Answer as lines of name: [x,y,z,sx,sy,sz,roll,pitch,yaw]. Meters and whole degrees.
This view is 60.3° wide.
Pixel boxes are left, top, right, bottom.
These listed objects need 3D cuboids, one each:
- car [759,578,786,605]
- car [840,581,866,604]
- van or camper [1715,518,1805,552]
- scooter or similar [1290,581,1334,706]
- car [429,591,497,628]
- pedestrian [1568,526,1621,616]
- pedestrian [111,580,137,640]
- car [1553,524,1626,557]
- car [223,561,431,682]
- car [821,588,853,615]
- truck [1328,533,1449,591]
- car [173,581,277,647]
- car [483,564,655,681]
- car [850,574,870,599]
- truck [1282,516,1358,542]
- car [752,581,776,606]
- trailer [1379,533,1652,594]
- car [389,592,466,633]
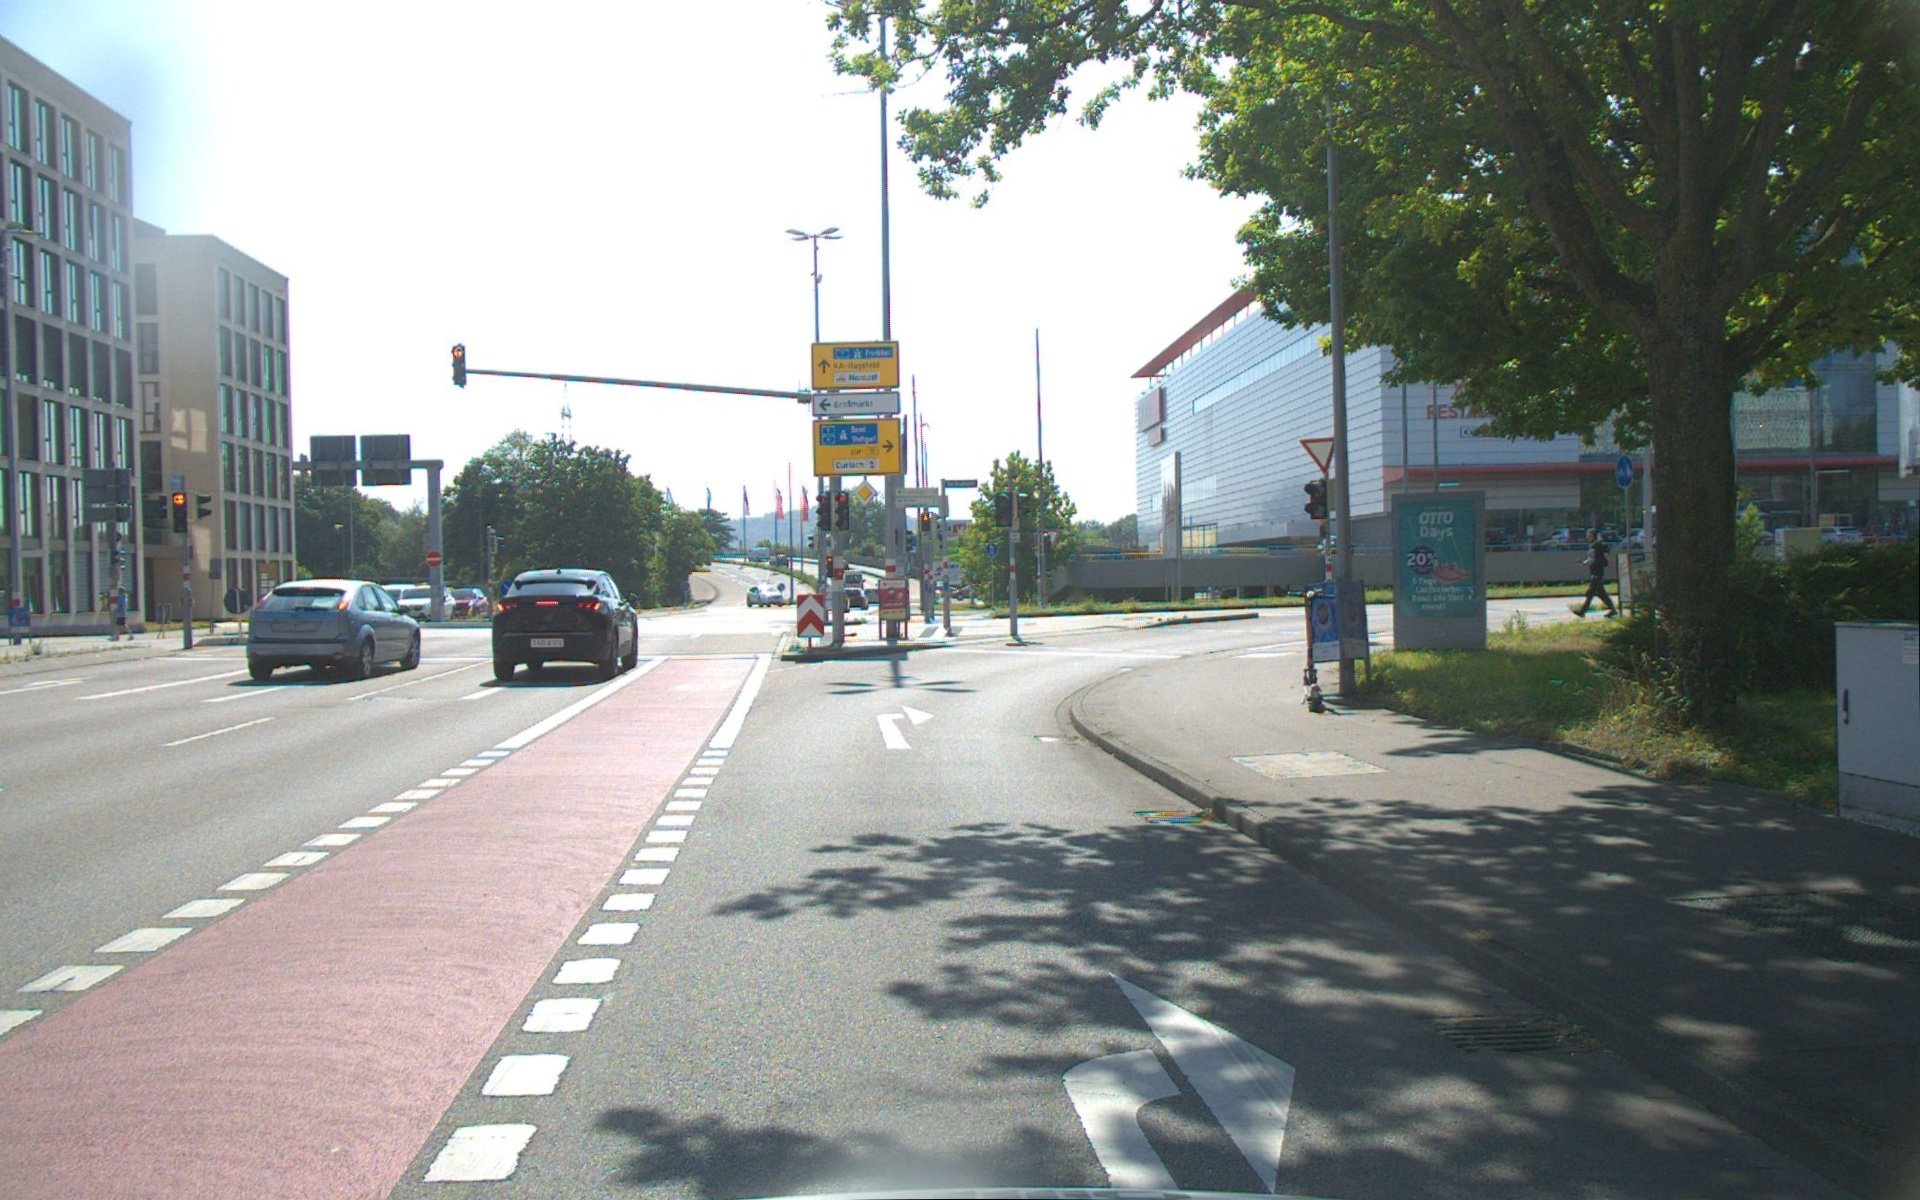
car: [-15.358,-0.696,135.711,1.954,2.048,3.978,1,2,-4]
car: [-7.032,-0.512,109.130,1.655,1.382,3.999,1,2,-3]
van or camper: [51.273,-4.162,106.043,4.887,2.048,1.998,1,2,-6]
scooter or similar: [3.725,0.440,17.551,0.343,1.255,1.312,-2,1,9]
car: [-22.259,0.400,74.187,1.778,1.489,4.000,-2,1,0]
pedestrian: [12.915,-0.583,33.694,0.617,1.800,0.802,-2,0,-15]
pedestrian: [-29.191,0.331,57.747,0.748,2.048,0.925,0,2,-30]
car: [40.424,-3.829,106.279,3.910,2.048,1.998,1,2,-6]
car: [-9.984,0.290,26.417,1.954,1.713,3.997,-2,1,-4]
car: [-6.859,0.076,92.257,1.655,1.382,3.999,1,2,-3]
truck: [18.902,-1.685,73.094,4.784,2.466,1.999,1,2,-4]
car: [-16.313,0.282,36.825,1.191,1.354,2.798,1,2,-3]
car: [-6.198,0.295,26.729,1.771,1.668,4.458,-2,1,-1]
car: [-9.876,-1.322,163.339,1.954,2.361,3.999,1,2,-3]
truck: [29.447,-5.796,135.399,5.791,2.048,1.999,1,2,-3]
car: [-15.108,-0.532,127.359,1.726,1.825,3.343,-2,1,-6]
trailer: [24.643,-1.638,73.530,11.637,2.512,1.999,1,2,-4]
car: [-21.540,0.482,67.021,1.778,1.489,4.000,-2,1,0]
